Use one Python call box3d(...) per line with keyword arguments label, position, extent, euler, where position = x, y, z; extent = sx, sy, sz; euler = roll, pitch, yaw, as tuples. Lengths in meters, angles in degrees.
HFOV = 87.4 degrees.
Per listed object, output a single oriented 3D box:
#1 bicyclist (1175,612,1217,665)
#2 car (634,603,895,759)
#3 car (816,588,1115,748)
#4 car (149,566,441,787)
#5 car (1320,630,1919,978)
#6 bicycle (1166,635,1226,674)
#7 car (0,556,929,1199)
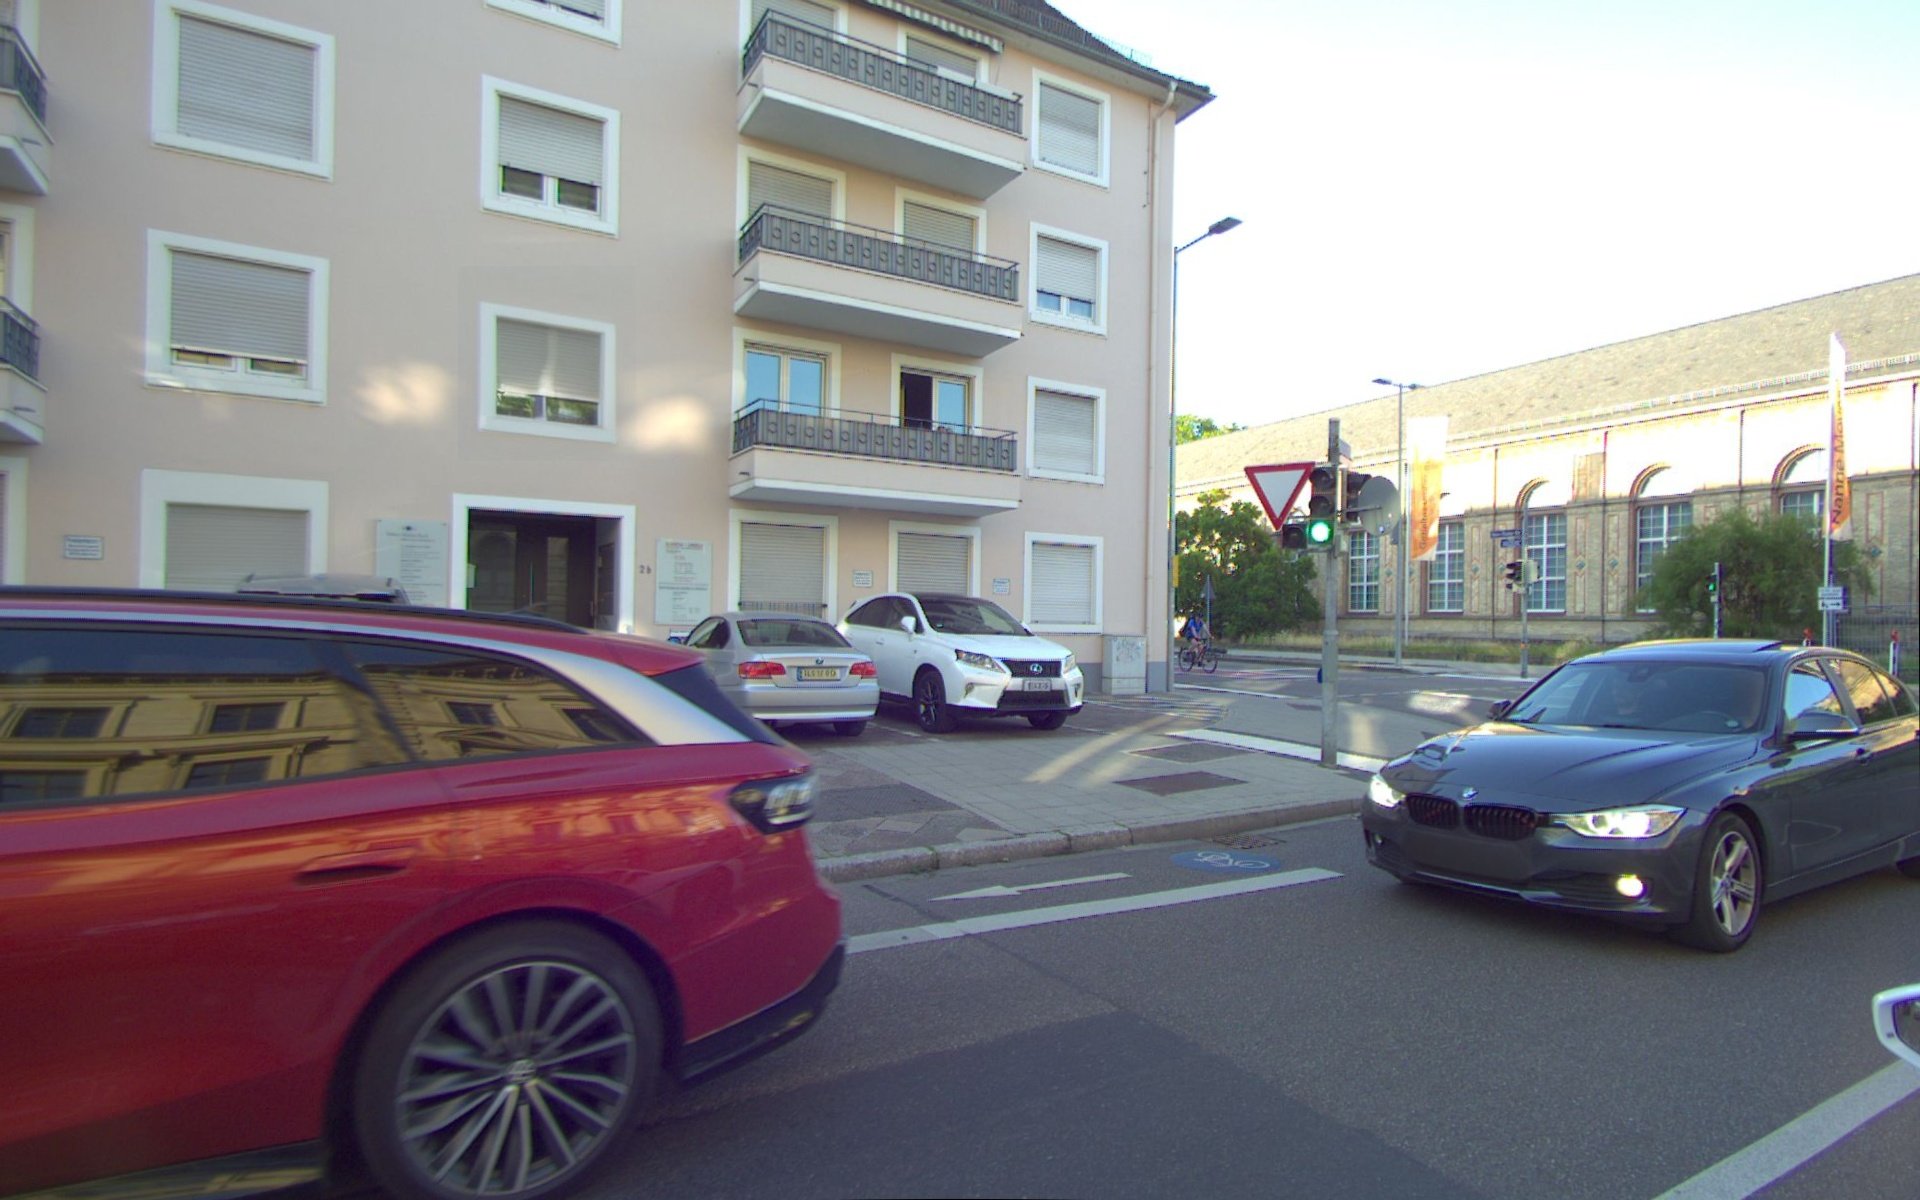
box3d(label="bicyclist", position=(7.046, 1.136, 30.030), extent=(0.703, 1.565, 1.119), euler=(1, -1, -23))
box3d(label="car", position=(-2.516, 0.807, 11.993), extent=(1.716, 1.399, 4.244), euler=(1, 1, -31))
box3d(label="car", position=(-0.138, 0.733, 13.192), extent=(1.920, 1.663, 4.417), euler=(1, 1, -31))
box3d(label="car", position=(-6.265, 0.530, 9.778), extent=(1.894, 1.626, 4.395), euler=(1, 1, -31))
box3d(label="car", position=(4.422, 0.954, 6.154), extent=(4.370, 1.478, 1.774), euler=(2, -2, -29))
box3d(label="bicycle", position=(7.026, 1.624, 30.026), extent=(0.713, 1.082, 1.991), euler=(1, -1, -22))
box3d(label="car", position=(-2.589, 0.715, 2.568), extent=(4.794, 1.566, 1.821), euler=(1, -2, -33))
